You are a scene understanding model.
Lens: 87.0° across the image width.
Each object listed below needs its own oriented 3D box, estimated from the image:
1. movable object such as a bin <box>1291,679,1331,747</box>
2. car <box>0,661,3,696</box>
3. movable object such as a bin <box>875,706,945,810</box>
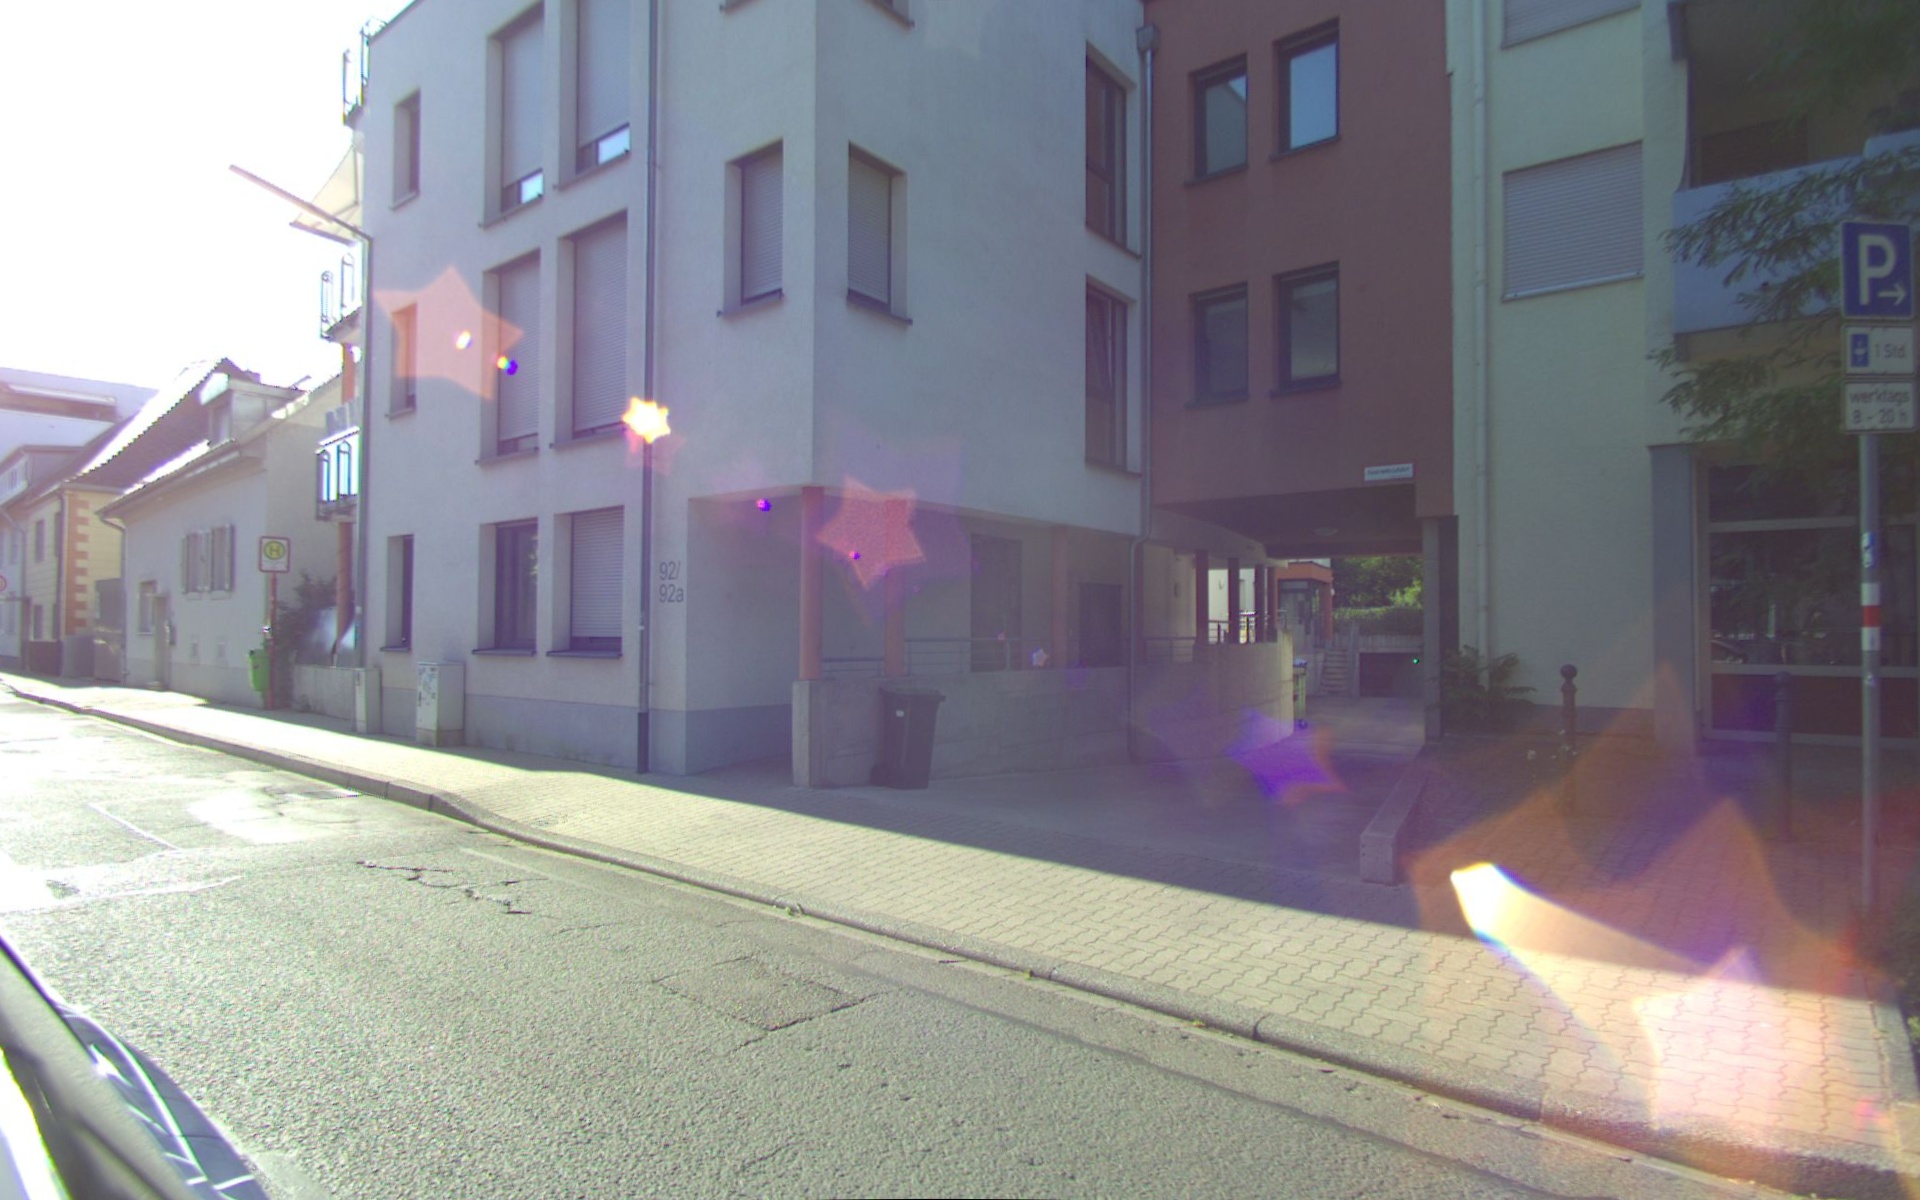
[{"bbox_3d":[7.596,2.414,21.871,0.696,1.406,0.750,-1,-4,28],"label":"movable object such as a bin"},{"bbox_3d":[-32.339,2.313,32.372,3.996,1.640,1.974,-2,3,40],"label":"car"},{"bbox_3d":[-0.456,1.439,9.308,0.433,0.882,0.485,-2,-4,37],"label":"movable object such as a bin"}]
